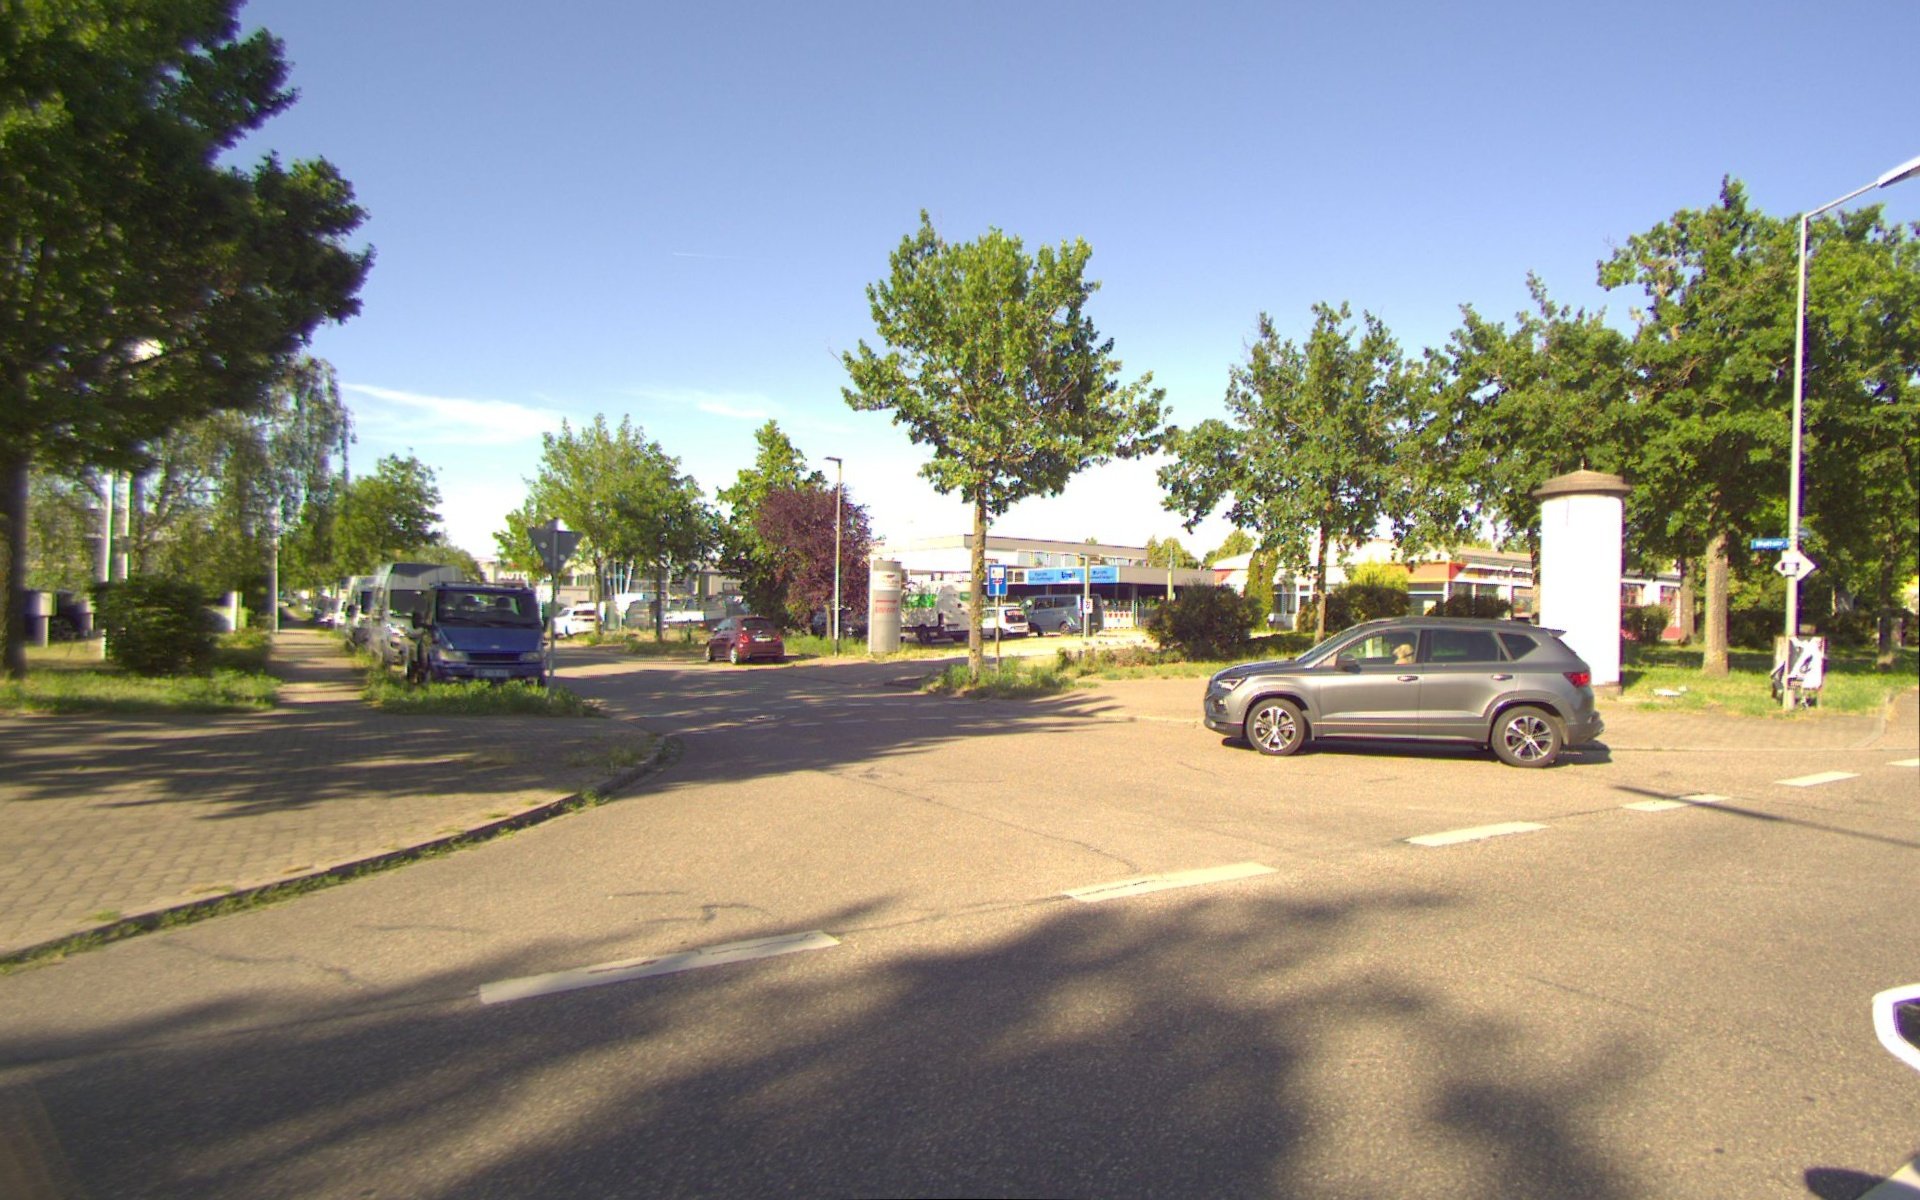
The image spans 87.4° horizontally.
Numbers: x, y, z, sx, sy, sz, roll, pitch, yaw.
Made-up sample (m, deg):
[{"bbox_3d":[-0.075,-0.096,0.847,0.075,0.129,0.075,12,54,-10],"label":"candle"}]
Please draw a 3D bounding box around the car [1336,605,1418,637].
[{"bbox_3d":[21.218,1.074,51.236,1.578,1.518,3.570,2,-1,-37],"label":"car"}]

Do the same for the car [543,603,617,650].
[{"bbox_3d":[-19.663,1.327,51.851,2.279,2.132,5.307,2,0,-35],"label":"car"}]

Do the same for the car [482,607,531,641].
[{"bbox_3d":[-32.124,1.699,71.096,2.184,2.132,4.895,2,0,-35],"label":"car"}]

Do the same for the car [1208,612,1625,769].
[{"bbox_3d":[5.129,0.990,11.889,4.212,1.616,1.761,0,-2,13],"label":"car"}]

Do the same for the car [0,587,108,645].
[{"bbox_3d":[-28.295,0.427,29.824,4.254,1.514,1.982,4,-1,-33],"label":"car"}]

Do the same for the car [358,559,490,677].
[{"bbox_3d":[-14.168,0.379,26.322,2.279,2.738,5.822,2,0,-35],"label":"car"}]

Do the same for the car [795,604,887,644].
[{"bbox_3d":[-5.056,0.993,42.300,1.867,1.571,4.614,2,-1,-35],"label":"car"}]

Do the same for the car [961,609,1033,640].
[{"bbox_3d":[1.700,1.114,46.882,1.559,1.319,3.499,1,0,-35],"label":"car"}]

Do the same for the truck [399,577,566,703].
[{"bbox_3d":[-9.887,0.642,20.382,2.118,2.077,7.068,2,0,-33],"label":"truck"}]

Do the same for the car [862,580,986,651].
[{"bbox_3d":[-1.652,0.600,43.261,2.279,2.738,6.117,2,0,-35],"label":"car"}]

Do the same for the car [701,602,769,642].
[{"bbox_3d":[-11.433,1.088,50.882,1.867,1.910,4.210,2,-1,-35],"label":"car"}]

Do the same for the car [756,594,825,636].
[{"bbox_3d":[-8.941,0.777,52.718,1.867,1.992,4.210,2,0,-35],"label":"car"}]

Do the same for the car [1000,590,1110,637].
[{"bbox_3d":[4.447,0.634,47.972,2.279,2.097,5.373,2,-1,-35],"label":"car"}]

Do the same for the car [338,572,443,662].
[{"bbox_3d":[-18.407,0.460,32.278,2.279,2.549,6.295,2,0,-35],"label":"car"}]

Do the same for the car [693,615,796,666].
[{"bbox_3d":[-7.061,1.261,32.670,1.807,1.501,4.162,0,0,-35],"label":"car"}]
